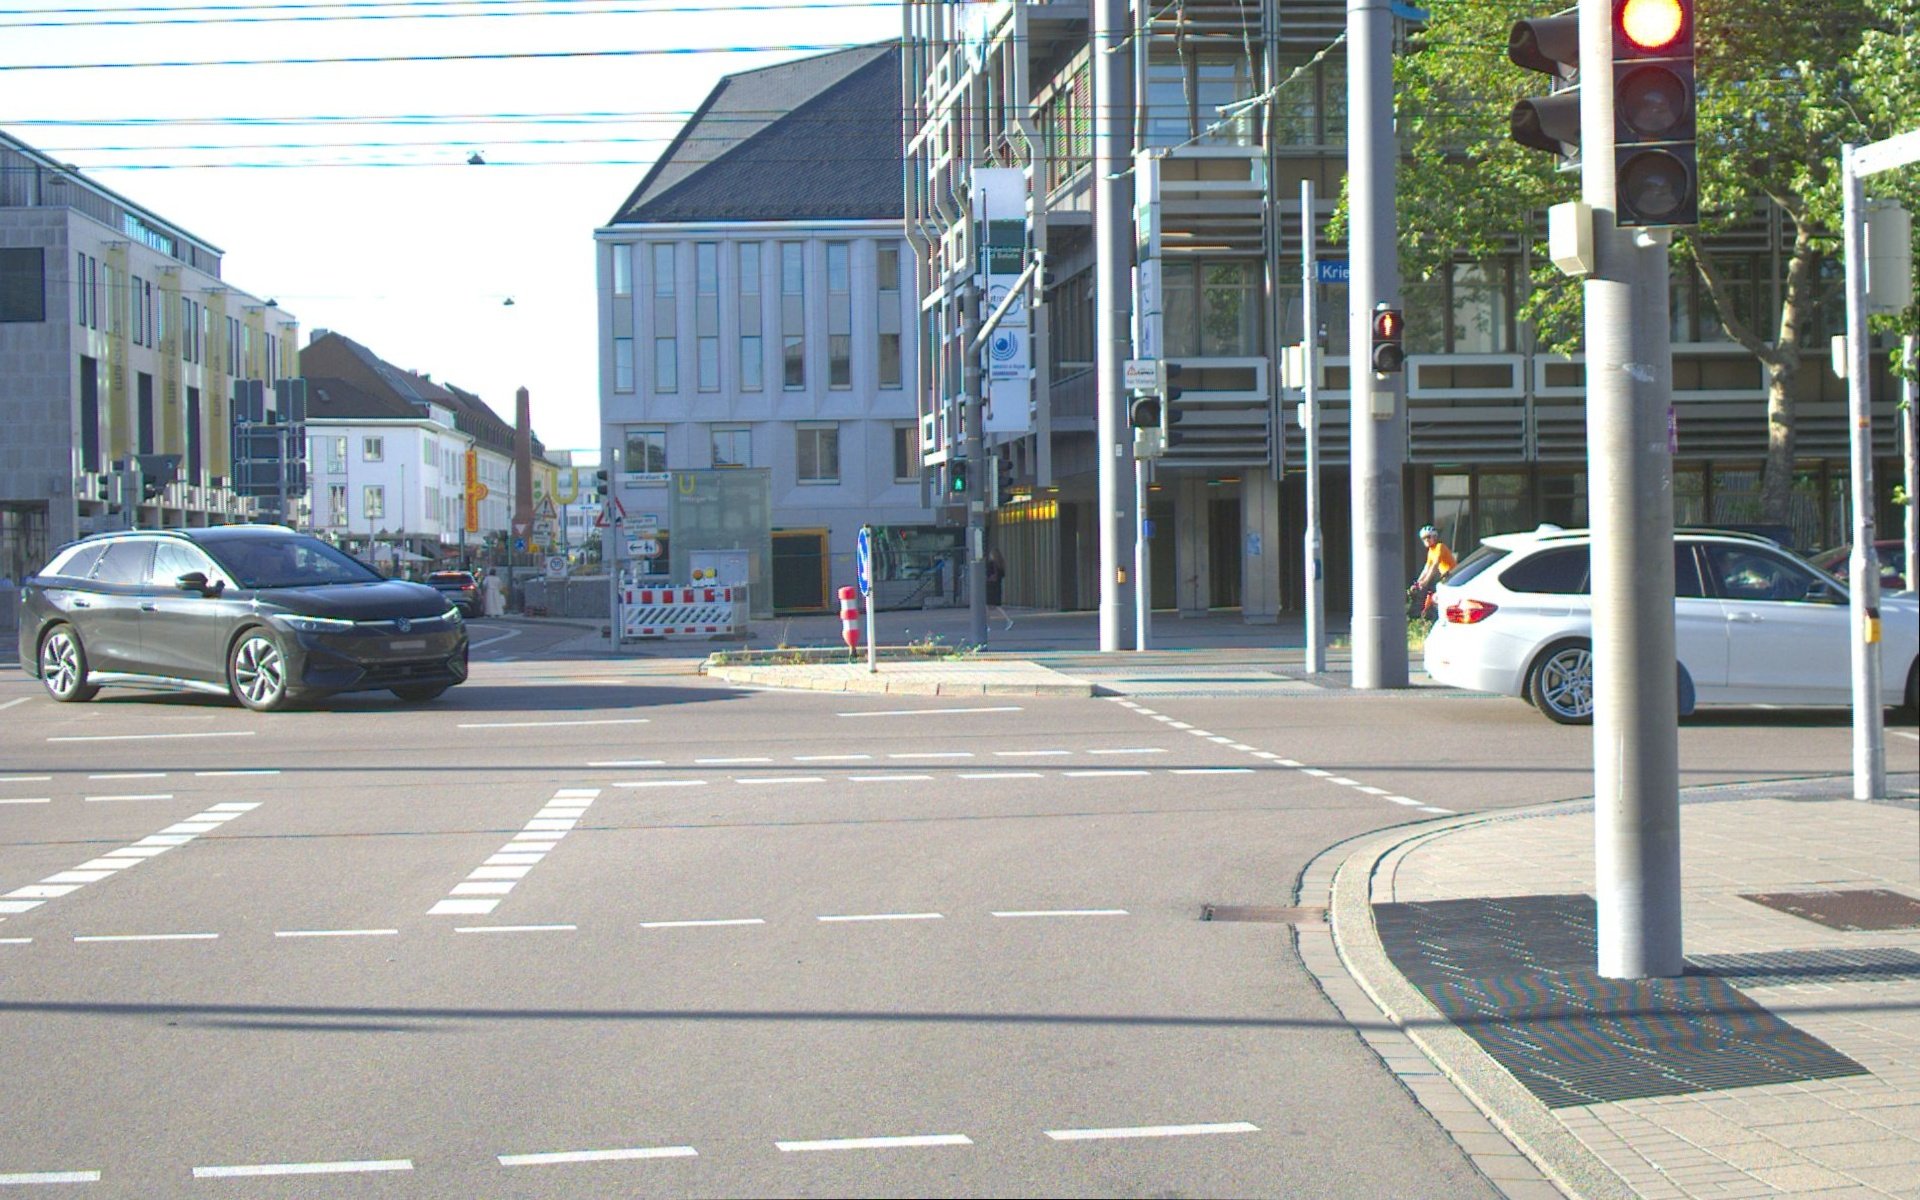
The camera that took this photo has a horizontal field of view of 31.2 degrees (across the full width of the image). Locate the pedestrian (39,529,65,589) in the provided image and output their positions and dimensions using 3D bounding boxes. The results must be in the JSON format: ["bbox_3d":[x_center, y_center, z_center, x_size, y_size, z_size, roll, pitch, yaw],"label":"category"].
[{"bbox_3d":[-30.730,-1.388,116.311,0.626,2.007,0.733,-1,1,2],"label":"pedestrian"}]

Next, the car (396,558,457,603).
[{"bbox_3d":[-20.992,-0.776,135.289,1.993,1.654,4.407,-2,1,-4],"label":"car"}]

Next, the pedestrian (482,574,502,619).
[{"bbox_3d":[-14.771,-0.118,108.480,0.609,1.406,0.570,-1,1,-6],"label":"pedestrian"}]

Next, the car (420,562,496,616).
[{"bbox_3d":[-15.804,-0.354,108.422,2.199,1.601,4.327,-1,1,-6],"label":"car"}]

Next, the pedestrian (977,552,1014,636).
[{"bbox_3d":[0.702,-0.131,68.601,0.663,1.652,0.755,-1,1,-3],"label":"pedestrian"}]

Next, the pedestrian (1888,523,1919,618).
[{"bbox_3d":[16.793,-0.522,60.877,0.540,1.663,0.537,-1,1,-3],"label":"pedestrian"}]

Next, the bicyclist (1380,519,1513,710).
[{"bbox_3d":[6.665,0.187,47.139,1.567,2.571,0.932,-1,1,-9],"label":"bicyclist"}]

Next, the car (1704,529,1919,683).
[{"bbox_3d":[12.291,0.084,46.408,3.986,2.007,2.000,1,0,-3],"label":"car"}]

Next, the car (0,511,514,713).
[{"bbox_3d":[-6.261,0.047,30.069,4.950,1.596,1.995,1,2,44],"label":"car"}]

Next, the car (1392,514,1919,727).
[{"bbox_3d":[5.730,0.129,26.261,4.687,1.522,2.000,-1,1,4],"label":"car"}]
